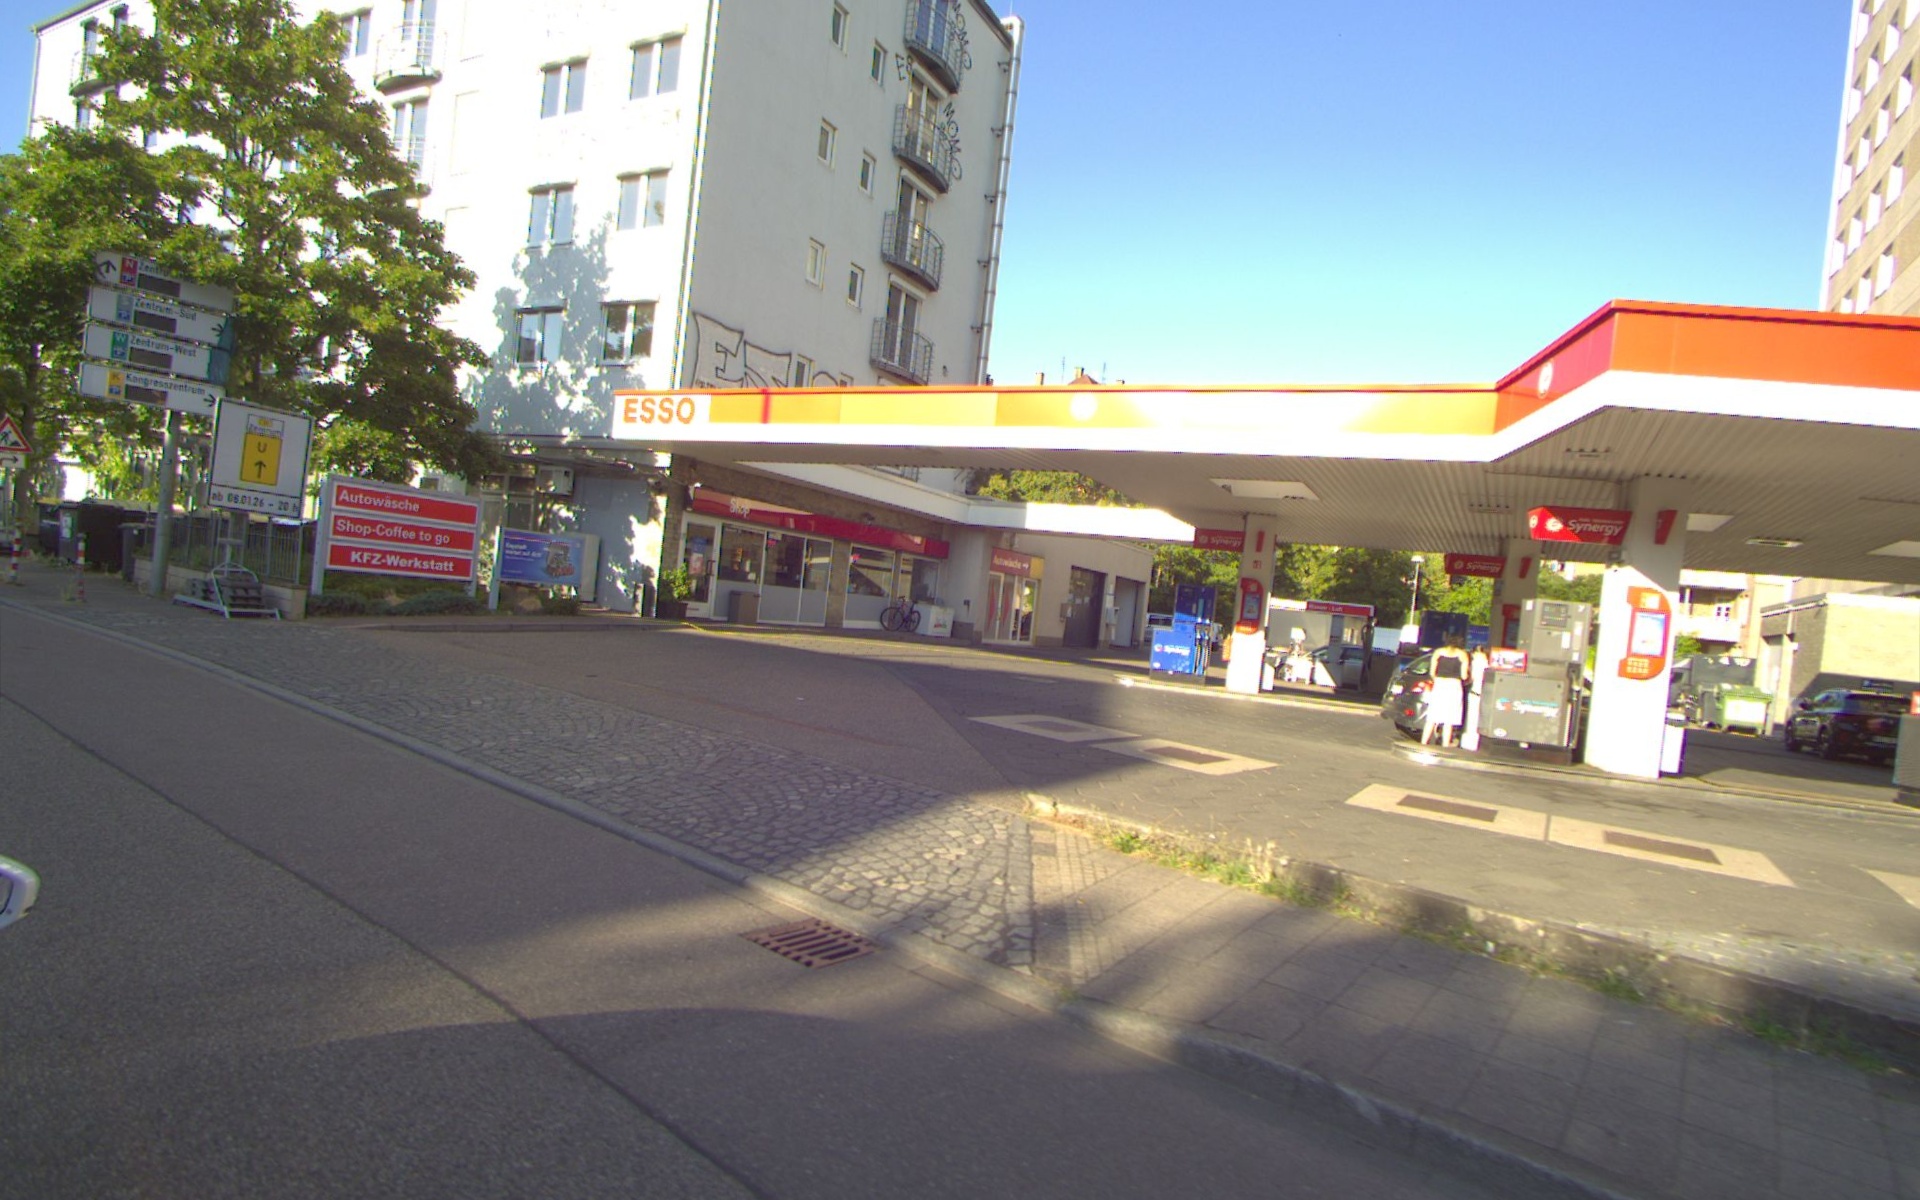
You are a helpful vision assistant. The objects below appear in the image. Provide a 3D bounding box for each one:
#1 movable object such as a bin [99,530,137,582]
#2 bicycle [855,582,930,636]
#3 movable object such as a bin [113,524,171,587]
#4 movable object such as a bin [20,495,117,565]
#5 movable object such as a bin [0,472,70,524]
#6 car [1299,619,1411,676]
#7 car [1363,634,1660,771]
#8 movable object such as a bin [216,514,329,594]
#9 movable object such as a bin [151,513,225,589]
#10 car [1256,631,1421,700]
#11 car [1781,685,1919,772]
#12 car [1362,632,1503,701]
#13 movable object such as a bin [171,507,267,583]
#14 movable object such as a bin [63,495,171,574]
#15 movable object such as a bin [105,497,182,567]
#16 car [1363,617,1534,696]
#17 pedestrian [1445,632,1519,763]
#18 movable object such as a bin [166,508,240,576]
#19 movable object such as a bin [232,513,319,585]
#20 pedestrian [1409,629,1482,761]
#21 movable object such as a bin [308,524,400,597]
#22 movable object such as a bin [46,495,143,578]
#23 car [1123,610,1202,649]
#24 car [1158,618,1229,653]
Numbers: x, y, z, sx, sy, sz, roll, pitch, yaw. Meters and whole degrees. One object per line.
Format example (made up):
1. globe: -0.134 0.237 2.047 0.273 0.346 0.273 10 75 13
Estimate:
1. movable object such as a bin: -15.981 -0.833 19.095 0.483 0.918 0.393 7 1 34
2. bicycle: -1.854 0.278 28.342 0.518 1.331 2.807 7 0 30
3. movable object such as a bin: -15.102 -0.814 18.566 0.606 1.059 0.619 7 1 34
4. movable object such as a bin: -20.230 -1.572 22.848 1.035 1.361 1.217 6 1 17
5. movable object such as a bin: -54.190 -5.941 56.742 2.505 2.521 5.358 7 0 29
6. car: 21.888 2.614 55.889 5.393 2.525 1.692 7 1 30
7. car: 7.719 1.401 14.362 3.239 1.457 1.590 6 1 7
8. movable object such as a bin: -14.088 -0.929 20.659 0.850 1.428 1.609 7 0 30
9. movable object such as a bin: -14.838 -0.944 19.335 0.850 1.325 0.778 7 1 31
10. car: 11.095 1.890 29.593 4.185 1.438 1.747 7 0 31
11. car: 19.619 2.742 21.867 1.966 1.467 3.992 7 0 30
12. car: 16.820 2.331 35.828 4.223 1.867 1.996 7 1 30
13. movable object such as a bin: -16.052 -1.186 21.798 1.259 1.452 1.307 8 3 37
14. movable object such as a bin: -18.521 -1.428 22.129 1.188 1.503 1.330 7 1 22
15. movable object such as a bin: -19.686 -1.633 24.275 0.940 1.503 1.104 7 1 31
16. car: 20.738 2.361 42.892 6.195 2.533 1.997 7 1 29
17. pedestrian: 6.925 1.273 13.363 0.557 1.642 0.534 6 1 9
18. movable object such as a bin: -18.937 -1.445 25.170 0.941 1.503 1.127 7 1 32
19. movable object such as a bin: -15.641 -1.163 23.000 1.258 1.440 1.194 8 3 34
20. pedestrian: 6.384 1.238 13.253 0.557 1.642 0.534 6 1 8
21. movable object such as a bin: -13.273 -0.848 22.056 0.850 1.428 1.406 7 1 31
22. movable object such as a bin: -17.607 -1.289 20.473 1.234 1.526 1.093 4 -1 32
23. car: 11.654 1.696 57.975 3.933 1.792 1.806 7 1 30
24. car: 15.058 2.270 64.832 3.933 1.792 1.806 7 1 30
